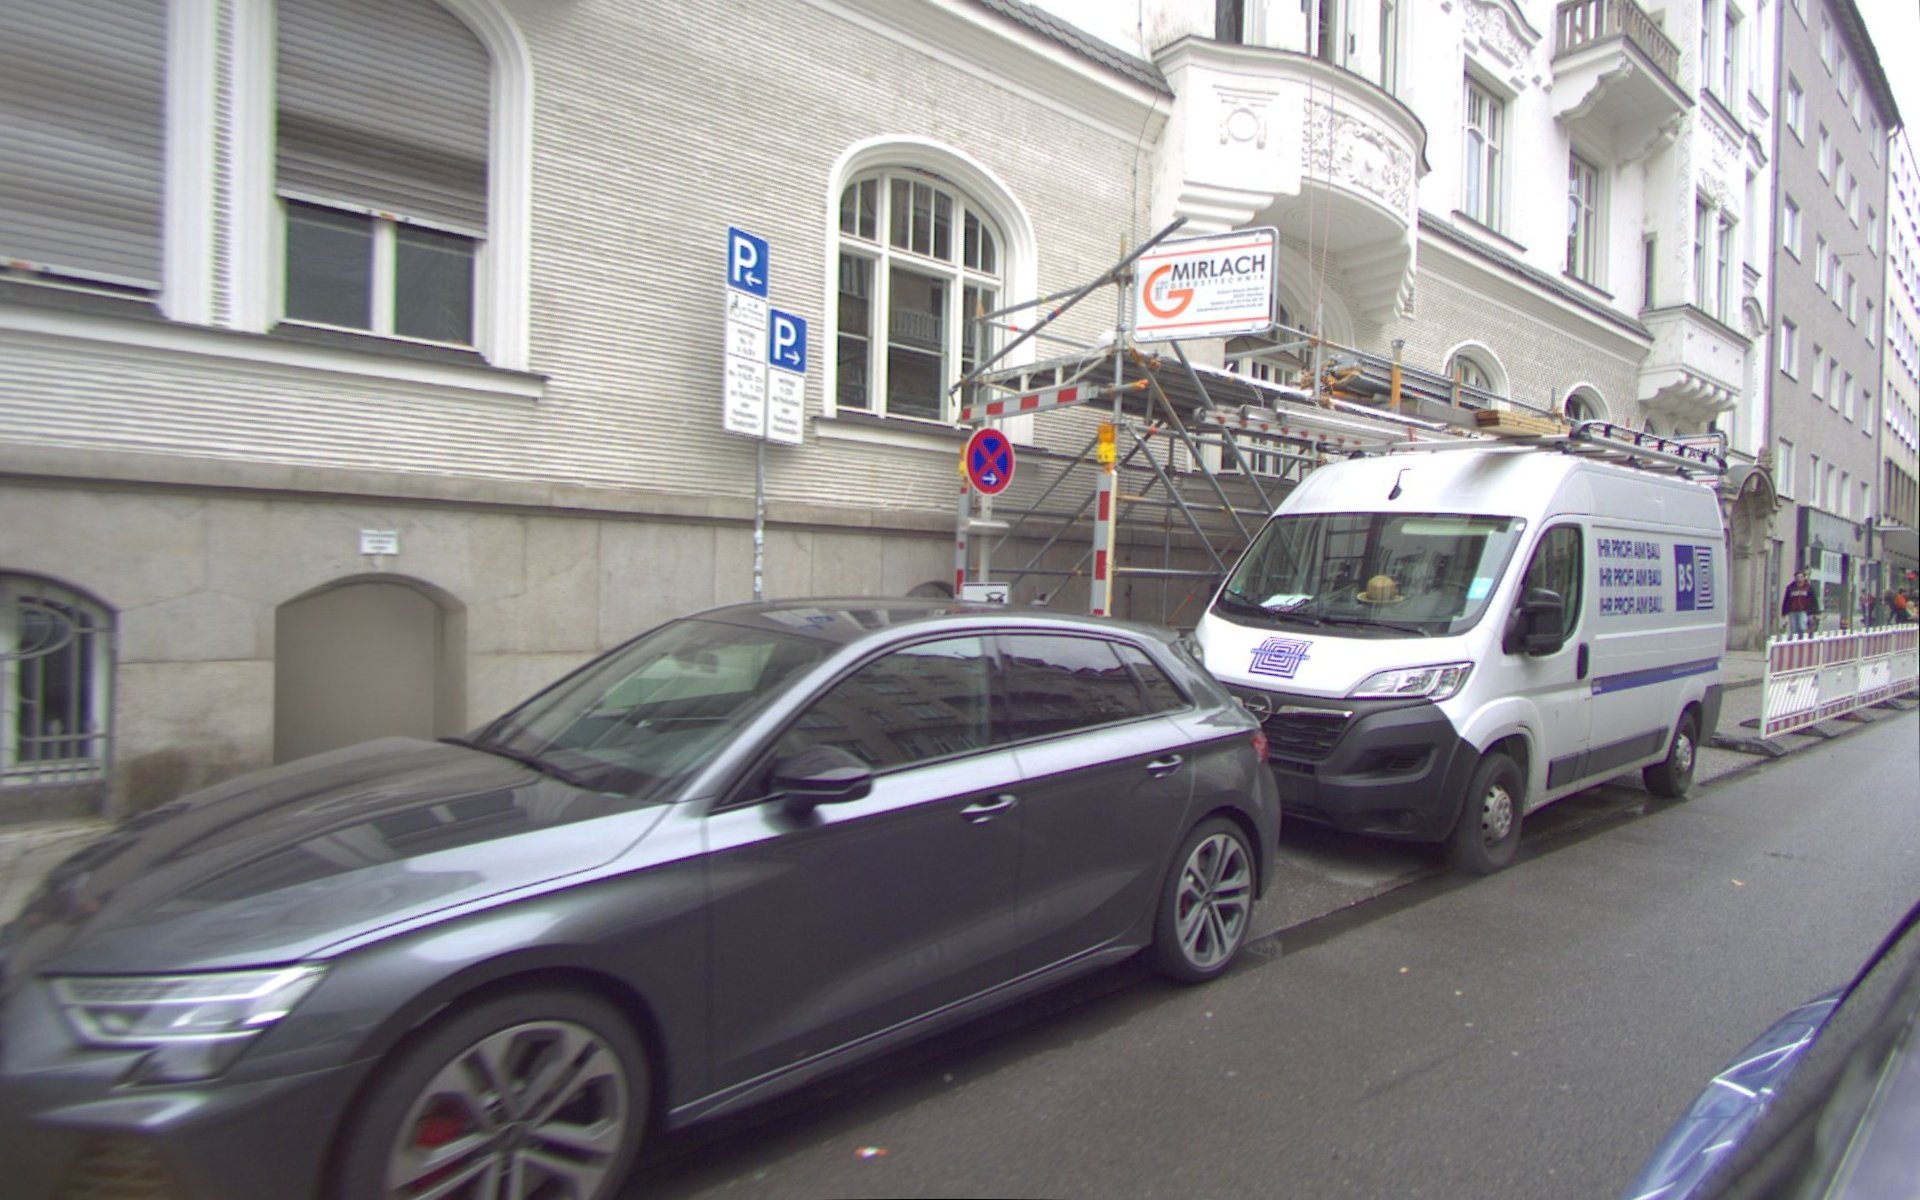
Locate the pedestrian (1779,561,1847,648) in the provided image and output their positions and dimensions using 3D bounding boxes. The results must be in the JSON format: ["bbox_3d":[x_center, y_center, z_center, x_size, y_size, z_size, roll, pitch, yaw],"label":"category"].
[{"bbox_3d":[19.903,0.092,23.607,1.158,1.933,0.929,0,3,-41],"label":"pedestrian"}]

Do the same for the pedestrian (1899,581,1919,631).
[{"bbox_3d":[33.997,0.199,36.021,0.733,1.754,0.704,0,1,-40],"label":"pedestrian"}]

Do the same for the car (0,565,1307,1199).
[{"bbox_3d":[-0.662,0.656,3.490,4.016,1.452,1.757,0,2,-42],"label":"car"}]

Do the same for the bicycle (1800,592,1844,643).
[{"bbox_3d":[22.830,0.440,26.793,1.788,1.275,0.513,0,5,-41],"label":"bicycle"}]

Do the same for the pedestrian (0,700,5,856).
[{"bbox_3d":[-4.567,0.397,4.046,0.999,1.573,0.923,-2,5,-40],"label":"pedestrian"}]

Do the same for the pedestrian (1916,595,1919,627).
[{"bbox_3d":[37.361,0.442,38.695,0.656,1.252,1.099,0,2,-40],"label":"pedestrian"}]

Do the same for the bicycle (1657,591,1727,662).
[{"bbox_3d":[13.837,0.463,19.115,1.890,1.220,0.661,0,5,-44],"label":"bicycle"}]

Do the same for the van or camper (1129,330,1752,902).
[{"bbox_3d":[3.730,0.040,7.222,5.362,2.669,1.958,0,2,-40],"label":"van or camper"}]

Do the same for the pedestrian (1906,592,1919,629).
[{"bbox_3d":[35.979,0.392,37.751,0.847,1.369,0.862,0,2,-40],"label":"pedestrian"}]
